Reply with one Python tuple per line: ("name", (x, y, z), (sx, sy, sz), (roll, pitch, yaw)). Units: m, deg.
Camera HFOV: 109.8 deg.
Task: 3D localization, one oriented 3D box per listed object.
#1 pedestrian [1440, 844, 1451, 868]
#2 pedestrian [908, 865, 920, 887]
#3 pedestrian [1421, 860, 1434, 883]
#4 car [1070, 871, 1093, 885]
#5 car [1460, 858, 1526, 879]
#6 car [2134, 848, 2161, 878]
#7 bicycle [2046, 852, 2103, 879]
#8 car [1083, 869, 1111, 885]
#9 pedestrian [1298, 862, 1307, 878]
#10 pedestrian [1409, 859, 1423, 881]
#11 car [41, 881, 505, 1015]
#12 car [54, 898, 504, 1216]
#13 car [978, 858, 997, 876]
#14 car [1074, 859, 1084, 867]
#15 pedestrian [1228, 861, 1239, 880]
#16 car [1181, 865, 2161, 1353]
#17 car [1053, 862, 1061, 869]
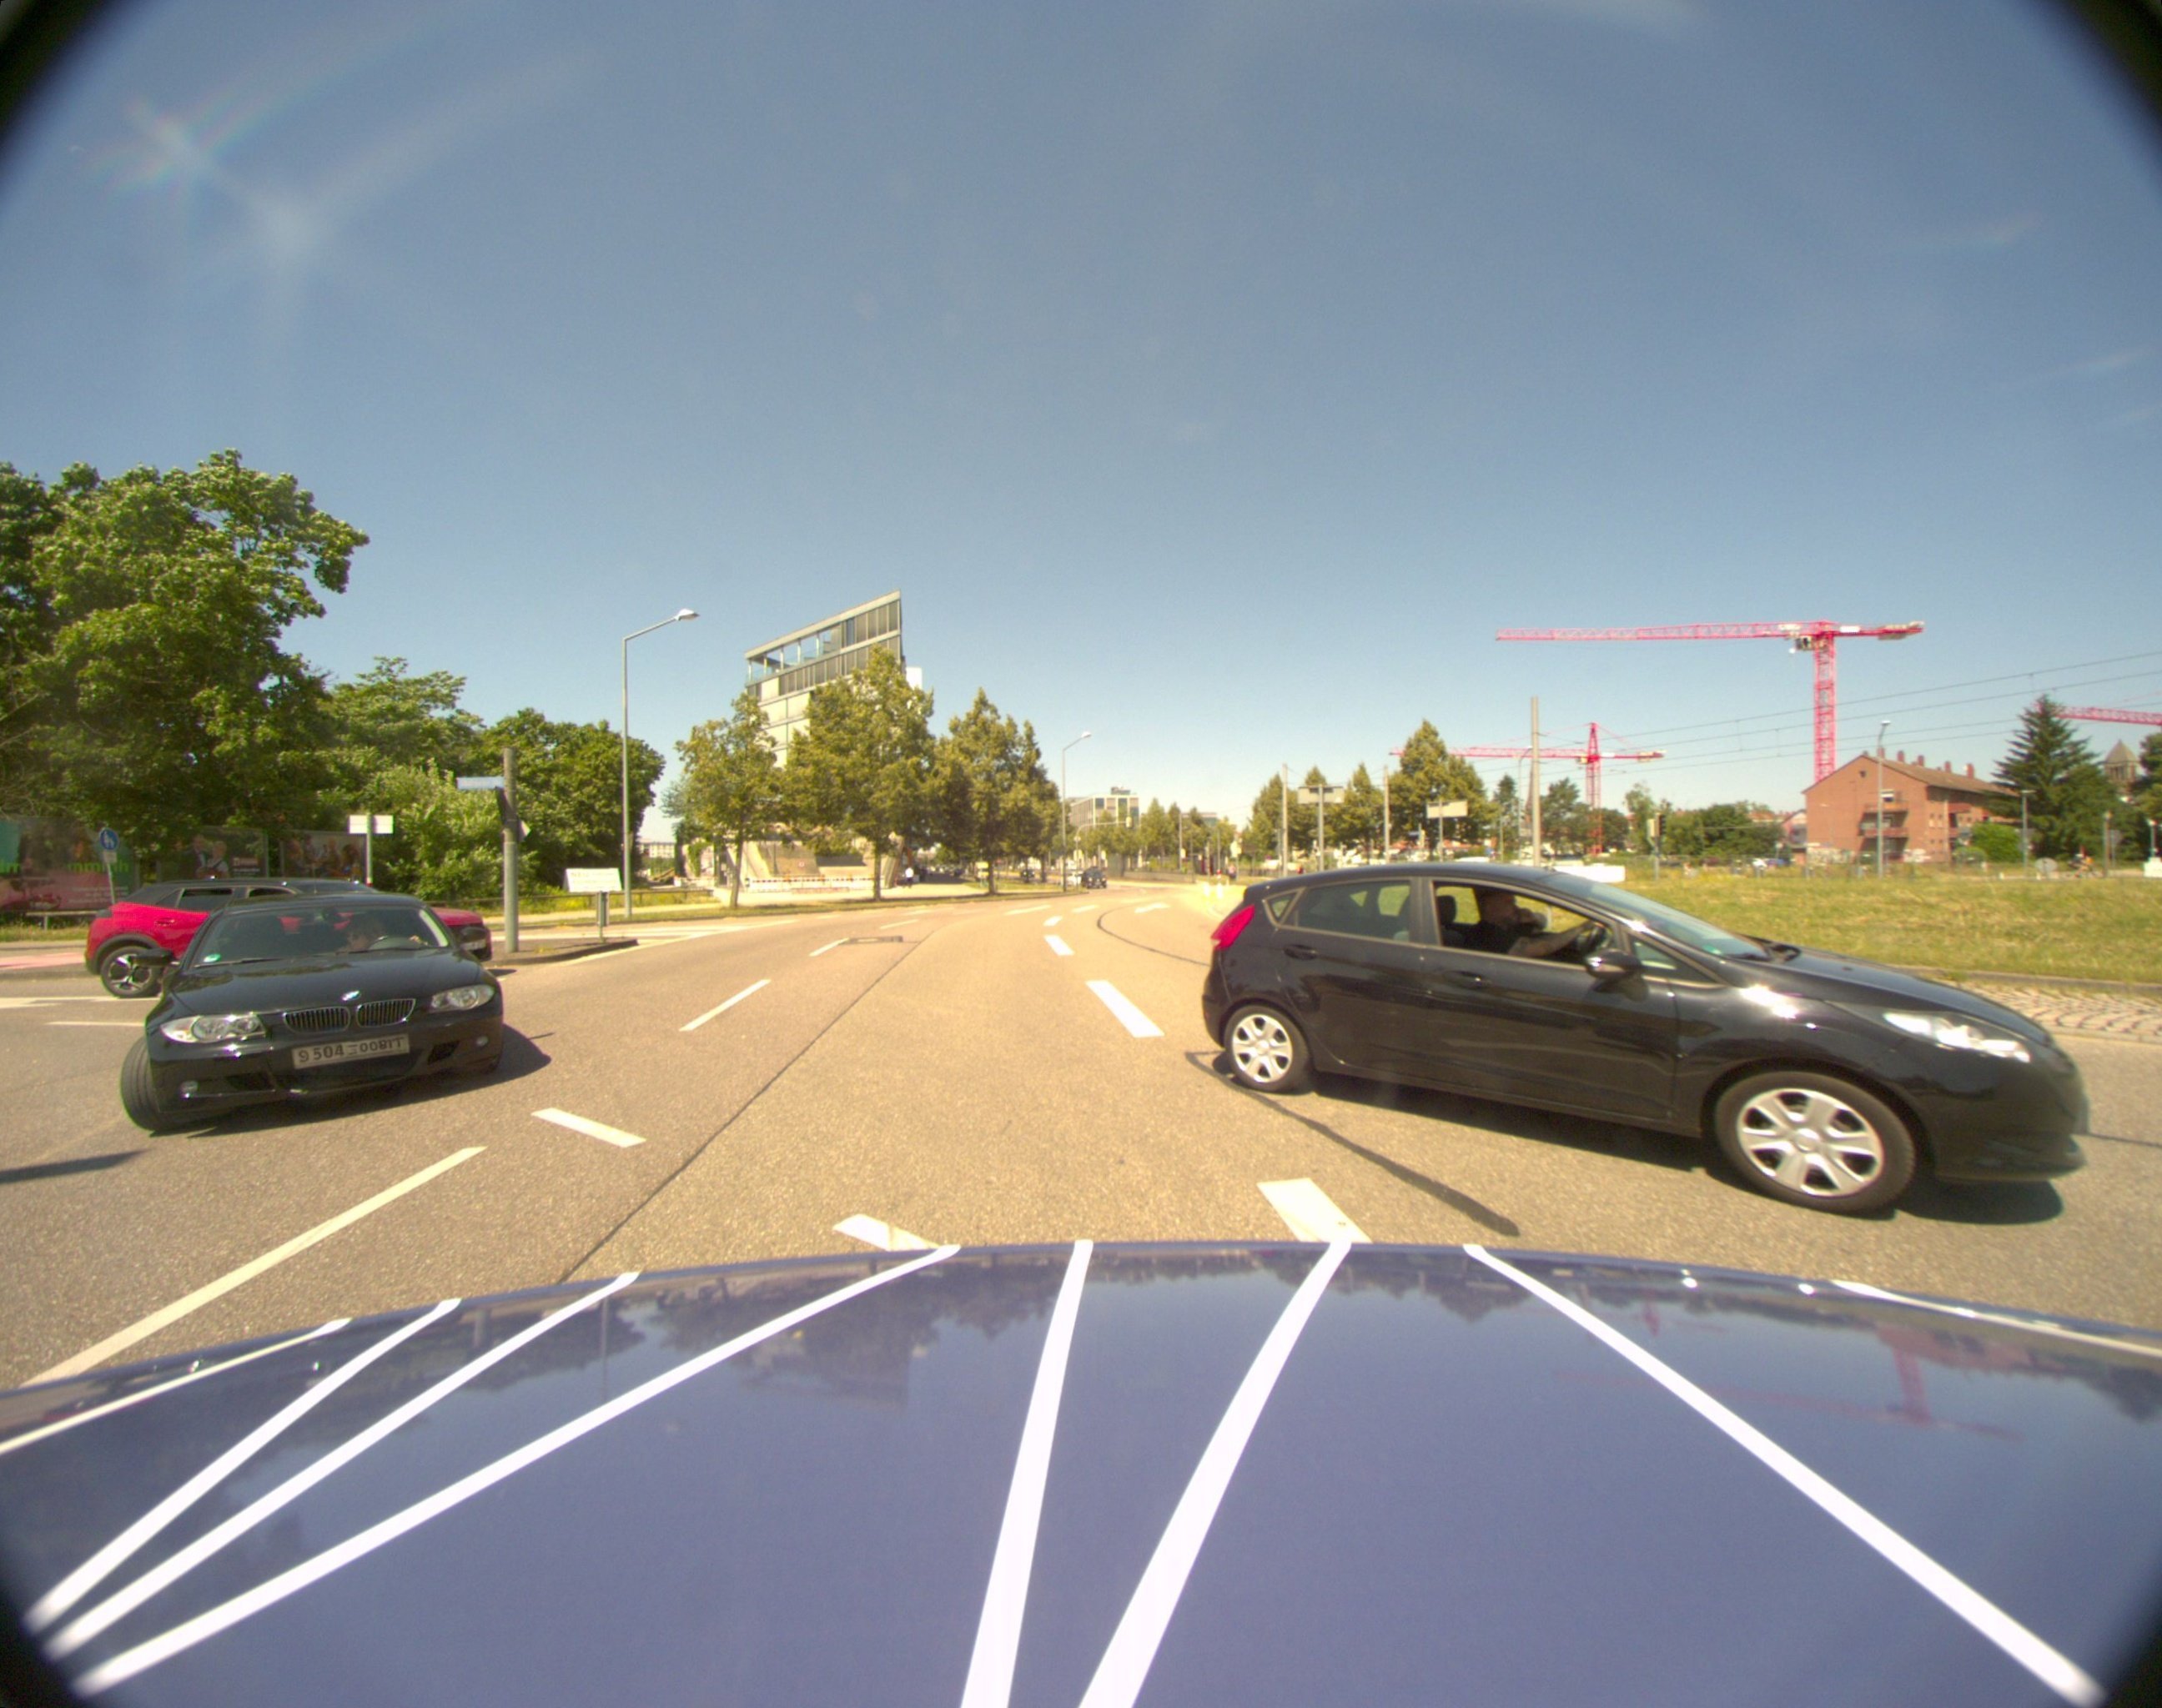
("pedestrian", (31.423, 0.175, 65.565), (0.595, 2.002, 0.602), (0, 1, -13))
("pedestrian", (-14.142, 1.852, 64.319), (0.834, 1.858, 0.611), (0, 1, 1))
("pedestrian", (29.574, 1.496, 64.931), (0.746, 2.002, 0.732), (0, 1, -1))
("car", (0.053, 2.240, 71.610), (1.577, 1.218, 3.319), (0, 1, -10))
("car", (31.893, 1.110, 58.889), (2.004, 1.456, 3.988), (-1, 1, -43))
("car", (73.788, 0.602, 51.531), (4.005, 2.002, 1.995), (0, 1, -25))
("bicycle", (62.837, 0.724, 48.095), (2.079, 1.675, 0.561), (1, 2, 41))
("car", (1.380, 1.956, 65.911), (1.741, 1.205, 3.562), (0, 1, -10))
("pedestrian", (19.699, 1.418, 67.586), (0.597, 1.398, 0.543), (-1, 0, -5))
("pedestrian", (28.653, 1.370, 64.961), (0.814, 1.887, 0.732), (0, 1, -1))
("car", (-10.985, 1.210, 10.708), (4.213, 1.518, 1.719), (-1, 0, -13))
("car", (-6.012, 1.165, 5.945), (3.989, 1.432, 1.806), (-1, 0, 45))
("car", (-13.231, 1.828, 107.302), (2.001, 2.493, 3.995), (-1, -1, -15))
("car", (-0.506, 2.505, 205.767), (2.001, 2.002, 3.896), (0, 1, -14))
("pedestrian", (12.983, 1.400, 64.588), (0.760, 1.630, 0.781), (0, 1, 0))
("car", (2.618, 0.852, 4.271), (3.808, 1.499, 1.637), (-1, 0, 43))
("car", (-7.459, 3.543, 237.718), (2.000, 2.002, 3.995), (0, 1, -10))
